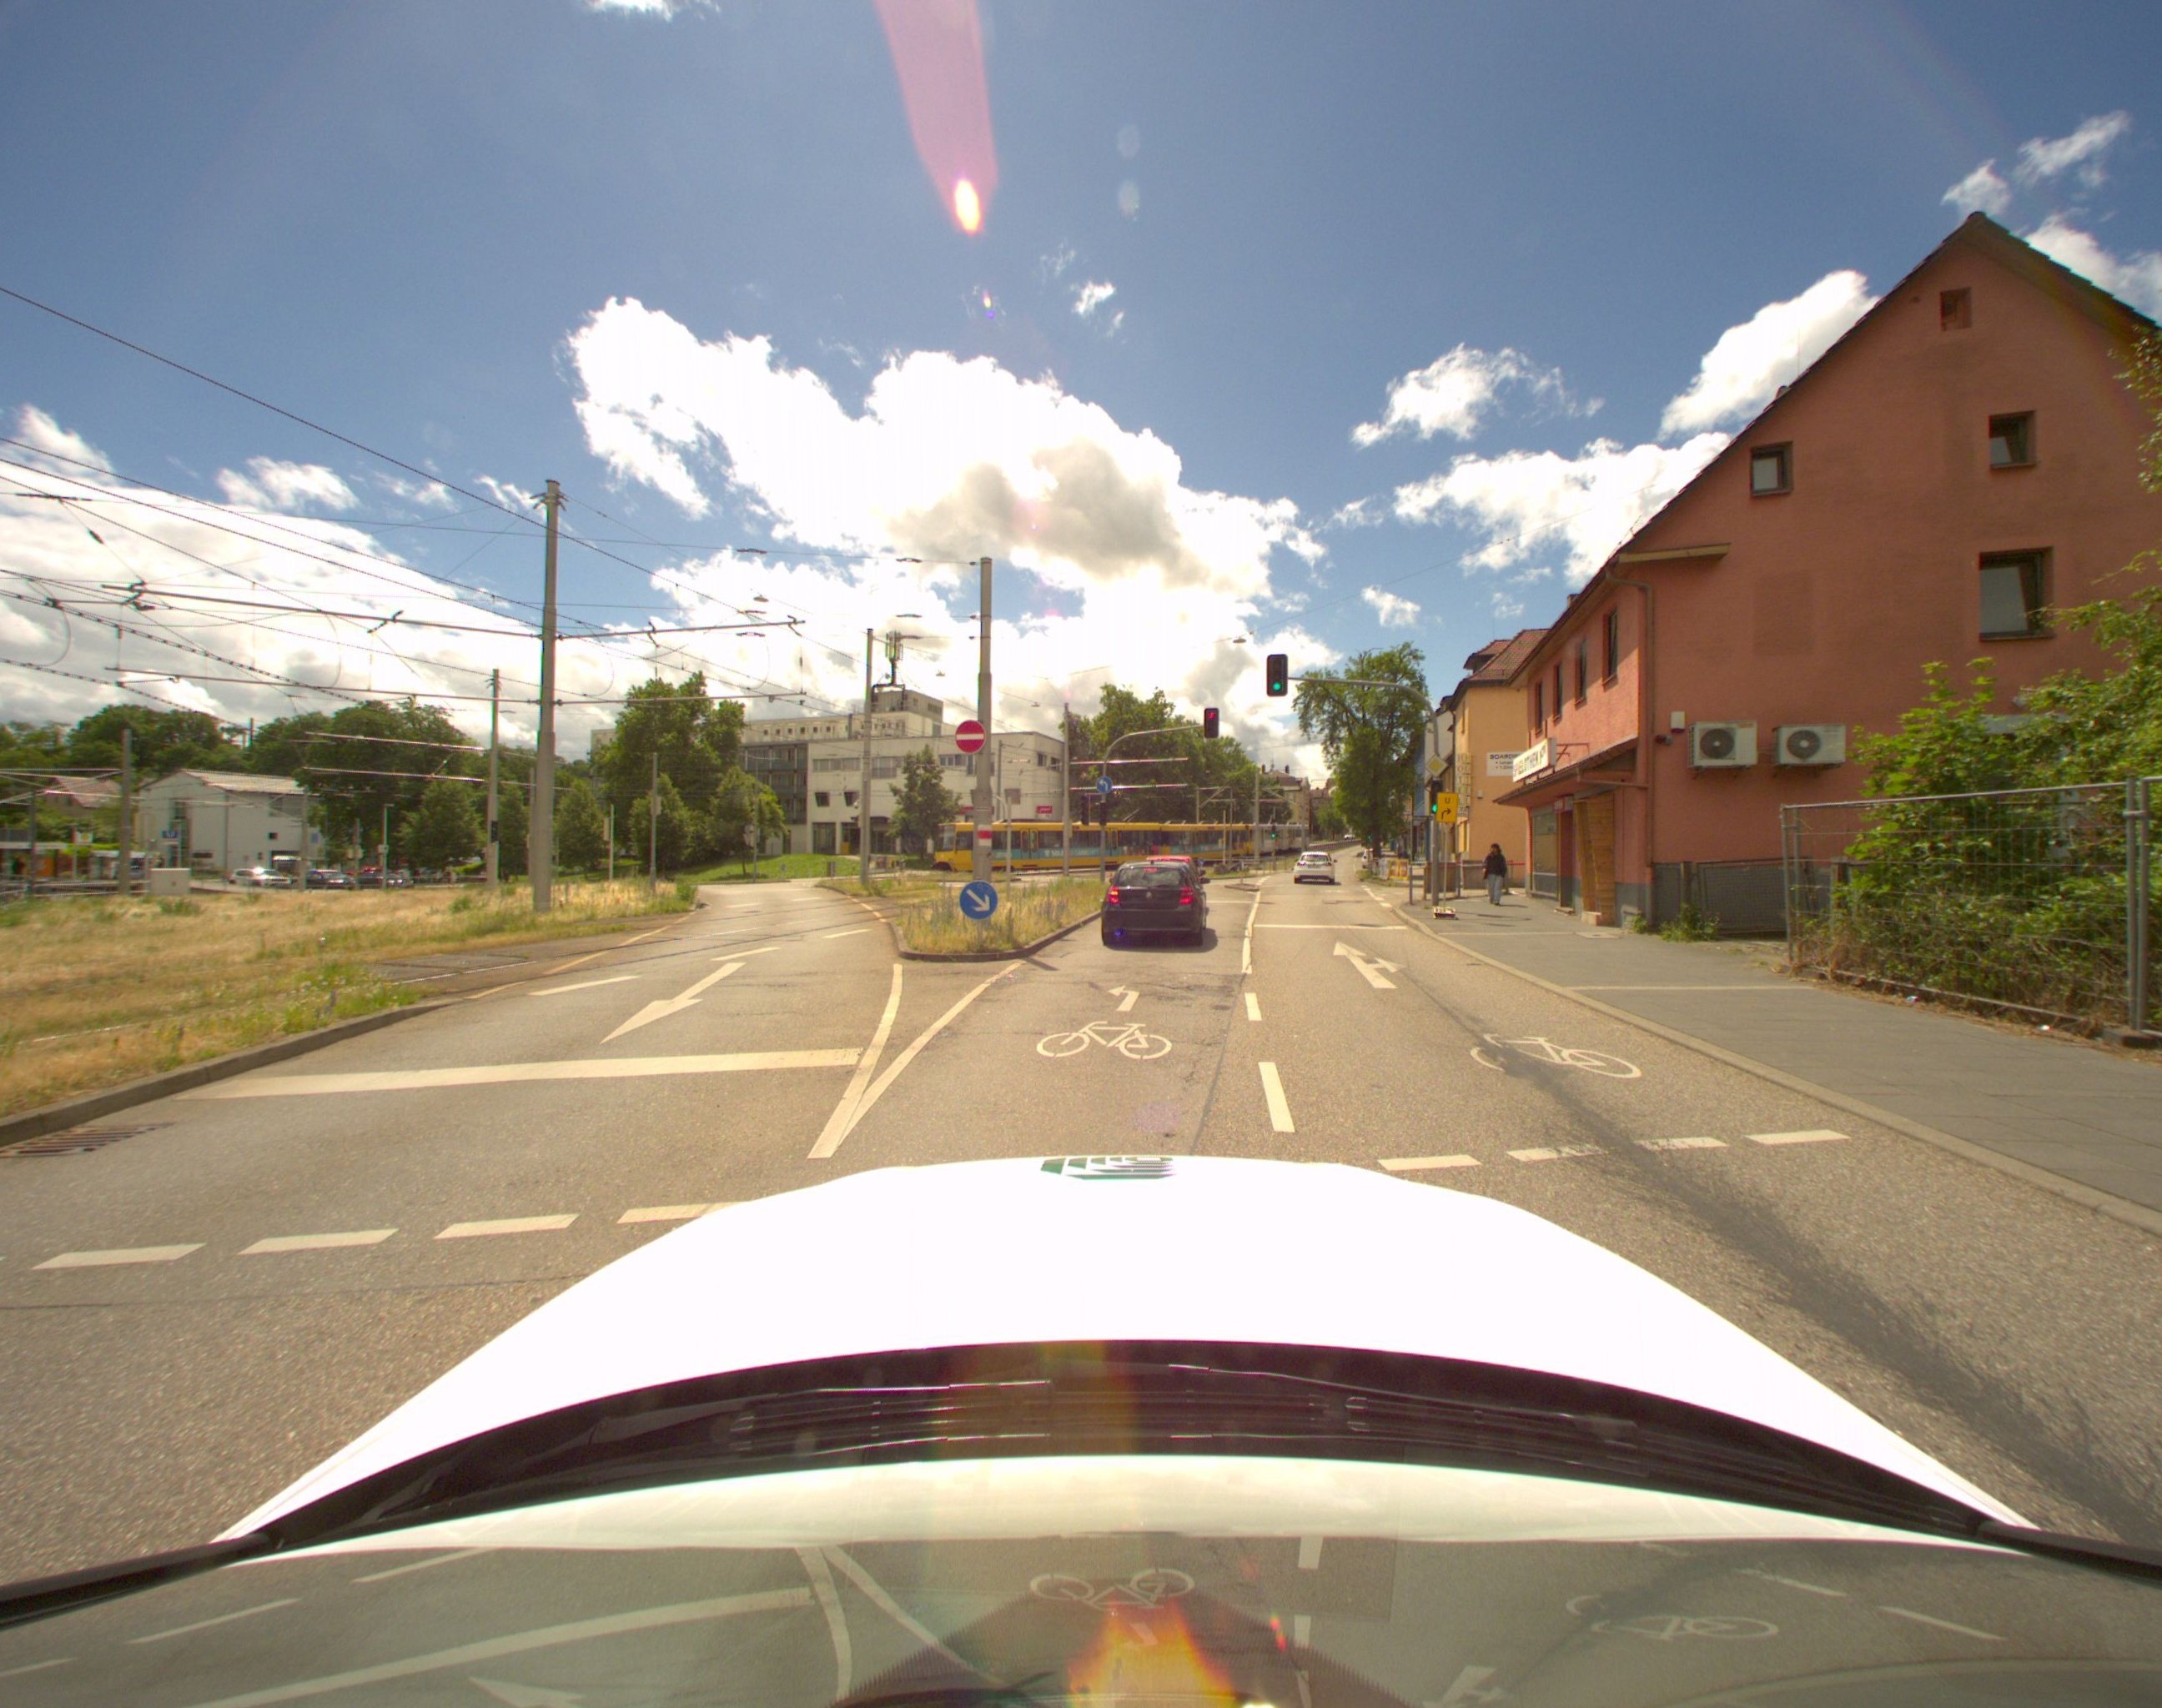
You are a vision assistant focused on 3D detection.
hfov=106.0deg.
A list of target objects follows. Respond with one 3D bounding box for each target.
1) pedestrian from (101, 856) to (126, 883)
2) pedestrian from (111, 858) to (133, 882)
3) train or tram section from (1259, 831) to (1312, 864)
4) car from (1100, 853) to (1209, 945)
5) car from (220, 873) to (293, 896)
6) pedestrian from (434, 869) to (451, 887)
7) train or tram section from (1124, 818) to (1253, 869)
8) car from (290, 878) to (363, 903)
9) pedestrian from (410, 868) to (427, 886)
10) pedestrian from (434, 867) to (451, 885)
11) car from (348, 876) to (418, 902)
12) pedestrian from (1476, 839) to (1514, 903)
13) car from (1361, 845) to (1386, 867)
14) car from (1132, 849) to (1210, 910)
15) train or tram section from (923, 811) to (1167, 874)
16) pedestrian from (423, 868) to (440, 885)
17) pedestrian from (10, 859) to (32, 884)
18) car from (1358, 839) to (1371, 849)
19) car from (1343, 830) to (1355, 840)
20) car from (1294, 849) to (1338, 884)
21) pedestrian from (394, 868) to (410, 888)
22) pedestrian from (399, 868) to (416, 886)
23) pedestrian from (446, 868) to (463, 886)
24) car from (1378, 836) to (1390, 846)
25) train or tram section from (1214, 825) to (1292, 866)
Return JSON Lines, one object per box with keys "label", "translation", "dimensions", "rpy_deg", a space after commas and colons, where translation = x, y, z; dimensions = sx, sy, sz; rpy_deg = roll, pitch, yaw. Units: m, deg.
{"label": "pedestrian", "translation": [-65.641, 1.046, 55.248], "dimensions": [0.789, 1.753, 0.842], "rpy_deg": [-1, 0, 20]}
{"label": "pedestrian", "translation": [-65.976, 1.099, 56.017], "dimensions": [0.666, 1.685, 0.760], "rpy_deg": [-1, 0, 20]}
{"label": "train or tram section", "translation": [27.408, -0.716, 107.957], "dimensions": [3.716, 3.814, 20.160], "rpy_deg": [-2, -1, 23]}
{"label": "car", "translation": [1.313, 0.747, 15.020], "dimensions": [1.693, 1.452, 4.004], "rpy_deg": [-1, -1, 4]}
{"label": "car", "translation": [-60.588, 2.251, 59.856], "dimensions": [4.442, 1.555, 1.947], "rpy_deg": [-1, -1, 17]}
{"label": "pedestrian", "translation": [-56.698, 2.091, 72.303], "dimensions": [0.808, 1.576, 0.844], "rpy_deg": [-1, 0, 11]}
{"label": "train or tram section", "translation": [10.112, -0.796, 71.986], "dimensions": [3.713, 3.829, 20.274], "rpy_deg": [-2, -1, 30]}
{"label": "car", "translation": [-54.012, 2.599, 58.294], "dimensions": [4.208, 1.651, 1.927], "rpy_deg": [-1, -1, 17]}
{"label": "pedestrian", "translation": [-61.053, 2.104, 75.077], "dimensions": [0.808, 1.576, 0.844], "rpy_deg": [-1, 0, 11]}
{"label": "pedestrian", "translation": [-58.399, 2.033, 74.466], "dimensions": [0.808, 1.576, 0.844], "rpy_deg": [-1, 0, 11]}
{"label": "car", "translation": [-52.164, 2.596, 60.864], "dimensions": [4.192, 1.791, 2.032], "rpy_deg": [-1, -1, 17]}
{"label": "pedestrian", "translation": [10.928, 0.445, 21.526], "dimensions": [0.758, 1.642, 0.781], "rpy_deg": [-1, 1, 18]}
{"label": "car", "translation": [22.760, 0.155, 63.381], "dimensions": [1.772, 1.596, 4.019], "rpy_deg": [-2, -1, 19]}
{"label": "car", "translation": [2.519, 0.658, 22.071], "dimensions": [1.614, 1.473, 4.014], "rpy_deg": [-1, -1, 13]}
{"label": "train or tram section", "translation": [-1.866, -0.752, 57.876], "dimensions": [18.993, 3.919, 3.717], "rpy_deg": [-1, -1, -40]}
{"label": "pedestrian", "translation": [-58.618, 2.024, 73.518], "dimensions": [0.808, 1.576, 0.844], "rpy_deg": [-1, 0, 11]}
{"label": "pedestrian", "translation": [-75.039, 1.234, 57.636], "dimensions": [0.666, 1.685, 0.760], "rpy_deg": [-1, 0, 20]}
{"label": "car", "translation": [46.017, -1.605, 132.025], "dimensions": [1.800, 1.468, 4.021], "rpy_deg": [2, 1, 21]}
{"label": "car", "translation": [63.209, -4.486, 192.166], "dimensions": [1.975, 2.014, 4.024], "rpy_deg": [-2, -1, 28]}
{"label": "car", "translation": [11.064, 0.524, 38.312], "dimensions": [1.801, 1.468, 4.017], "rpy_deg": [2, 1, 16]}
{"label": "pedestrian", "translation": [-64.008, 2.286, 76.770], "dimensions": [0.811, 1.866, 0.836], "rpy_deg": [-1, 0, 20]}
{"label": "pedestrian", "translation": [-61.149, 2.090, 73.905], "dimensions": [0.808, 1.576, 0.844], "rpy_deg": [-1, 0, 11]}
{"label": "pedestrian", "translation": [-56.451, 2.100, 73.345], "dimensions": [0.808, 1.576, 0.844], "rpy_deg": [-1, 0, 11]}
{"label": "car", "translation": [59.045, -2.456, 158.857], "dimensions": [2.105, 1.858, 3.757], "rpy_deg": [-1, 0, 20]}
{"label": "train or tram section", "translation": [19.376, -0.773, 89.743], "dimensions": [3.715, 3.879, 20.753], "rpy_deg": [-2, -1, 25]}
